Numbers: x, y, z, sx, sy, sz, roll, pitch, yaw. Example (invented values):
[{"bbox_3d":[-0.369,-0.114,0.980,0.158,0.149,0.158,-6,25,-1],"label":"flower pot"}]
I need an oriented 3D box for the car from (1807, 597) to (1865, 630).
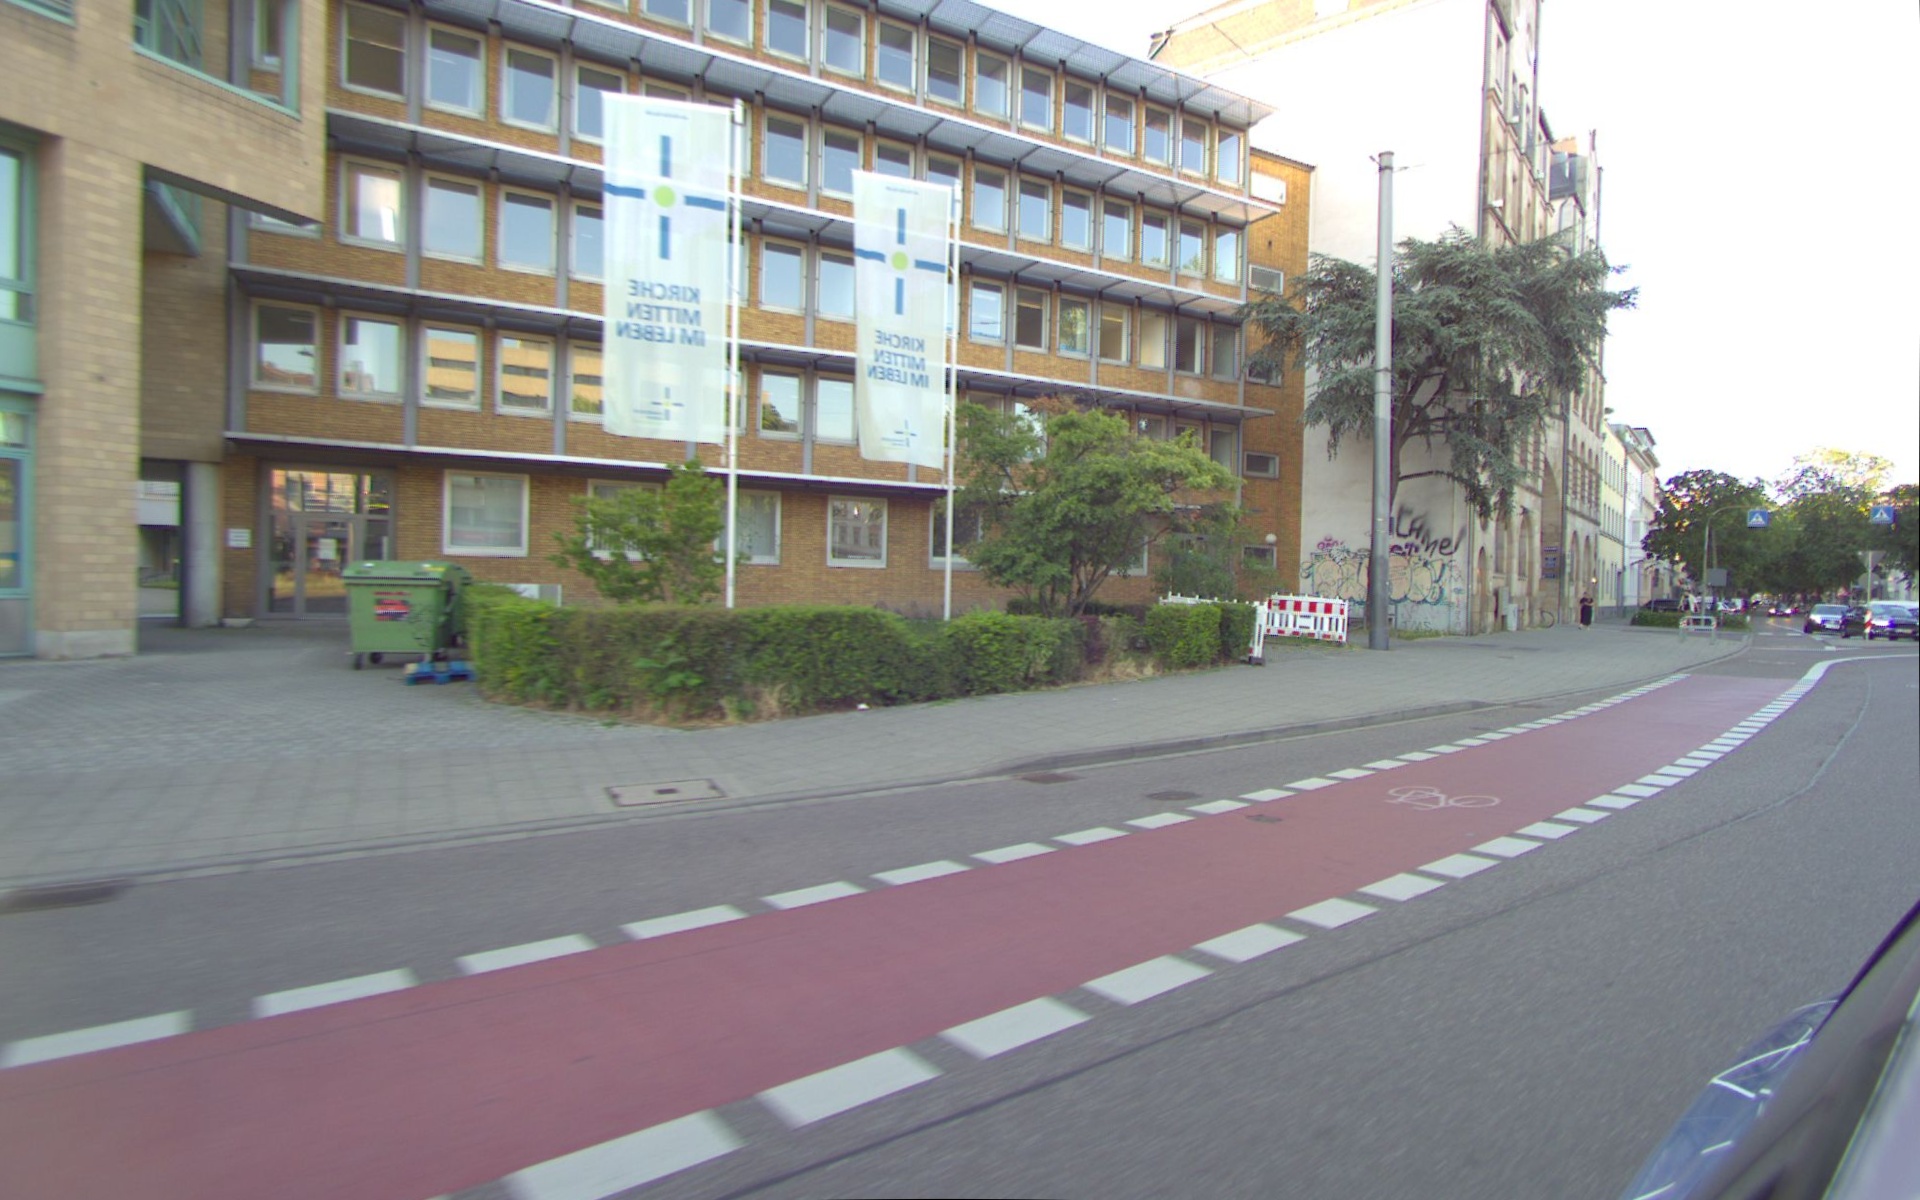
[{"bbox_3d":[43.045,0.646,49.795,1.811,1.501,4.080,3,1,37],"label":"car"}]

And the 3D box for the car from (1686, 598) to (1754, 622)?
[{"bbox_3d":[58.066,0.755,77.317,4.048,1.571,1.972,3,1,39],"label":"car"}]

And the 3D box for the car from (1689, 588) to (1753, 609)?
[{"bbox_3d":[65.805,-0.113,87.558,4.377,1.633,1.705,3,1,38],"label":"car"}]

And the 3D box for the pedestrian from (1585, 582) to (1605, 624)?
[{"bbox_3d":[26.773,0.111,42.663,0.575,1.730,0.710,2,0,43],"label":"pedestrian"}]

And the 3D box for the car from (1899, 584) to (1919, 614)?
[{"bbox_3d":[68.048,-0.017,69.339,1.927,2.047,5.091,2,1,-28],"label":"car"}]

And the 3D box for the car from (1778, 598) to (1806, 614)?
[{"bbox_3d":[86.498,0.657,105.226,4.066,1.501,1.817,2,0,-44],"label":"car"}]

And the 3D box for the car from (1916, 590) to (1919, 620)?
[{"bbox_3d":[52.122,0.348,52.002,1.830,1.576,4.069,2,1,-35],"label":"car"}]

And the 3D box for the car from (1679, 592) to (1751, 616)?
[{"bbox_3d":[54.570,0.301,73.176,4.048,1.571,1.972,3,1,39],"label":"car"}]

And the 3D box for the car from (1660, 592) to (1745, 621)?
[{"bbox_3d":[45.724,0.390,62.392,4.053,1.589,1.810,3,1,42],"label":"car"}]

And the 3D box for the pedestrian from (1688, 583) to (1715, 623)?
[{"bbox_3d":[33.851,0.133,46.195,0.804,1.814,0.593,2,0,-19],"label":"pedestrian"}]

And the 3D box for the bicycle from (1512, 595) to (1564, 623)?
[{"bbox_3d":[24.279,0.358,42.519,1.847,1.086,0.423,3,1,39],"label":"bicycle"}]

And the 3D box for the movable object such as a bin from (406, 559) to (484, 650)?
[{"bbox_3d":[-8.567,0.061,16.804,0.907,1.442,1.345,2,1,-36],"label":"movable object such as a bin"}]

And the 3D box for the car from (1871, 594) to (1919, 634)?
[{"bbox_3d":[38.076,0.563,40.715,1.812,1.501,4.076,3,1,39],"label":"car"}]

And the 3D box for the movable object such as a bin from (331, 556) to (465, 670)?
[{"bbox_3d":[-7.664,0.168,13.867,1.317,1.455,0.976,2,0,-10],"label":"movable object such as a bin"}]

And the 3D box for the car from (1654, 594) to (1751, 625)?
[{"bbox_3d":[42.845,0.512,58.433,4.381,1.577,1.810,3,1,41],"label":"car"}]

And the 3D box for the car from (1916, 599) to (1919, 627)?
[{"bbox_3d":[58.172,0.830,58.365,1.962,1.638,4.069,2,1,-35],"label":"car"}]

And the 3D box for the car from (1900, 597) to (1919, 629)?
[{"bbox_3d":[50.182,0.745,50.797,1.830,1.576,4.069,2,1,-35],"label":"car"}]

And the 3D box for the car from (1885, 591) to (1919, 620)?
[{"bbox_3d":[65.635,0.443,67.675,2.078,1.926,5.091,2,1,-28],"label":"car"}]
